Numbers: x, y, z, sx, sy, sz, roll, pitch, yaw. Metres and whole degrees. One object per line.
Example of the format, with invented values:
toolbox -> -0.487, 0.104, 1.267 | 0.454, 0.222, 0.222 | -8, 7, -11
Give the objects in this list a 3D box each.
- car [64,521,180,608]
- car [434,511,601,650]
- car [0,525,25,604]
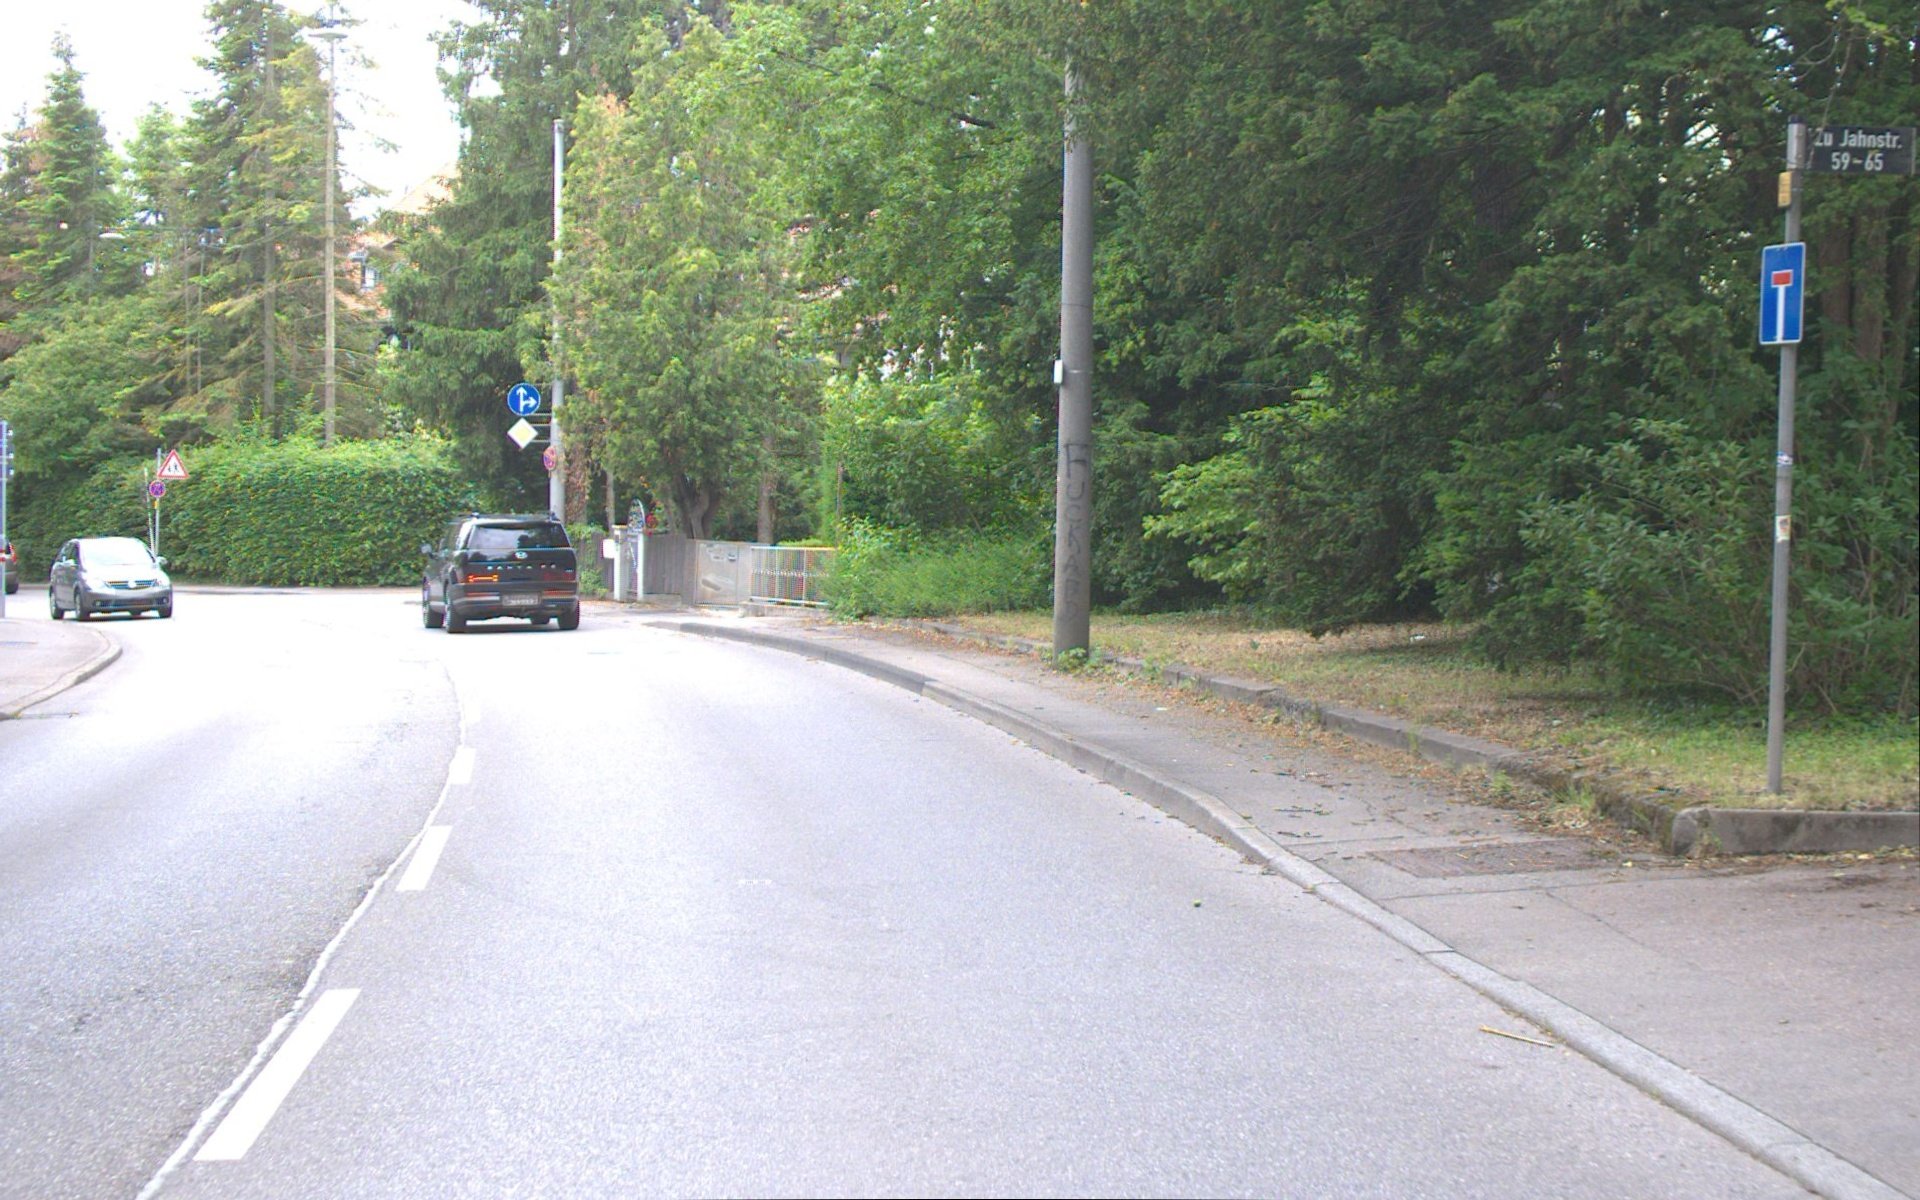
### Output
car -> -16.060, -0.700, 65.759 | 1.993, 1.612, 4.001 | 0, 1, -16
car -> -6.498, -0.332, 50.845 | 1.993, 1.875, 4.001 | 1, 2, -1
car -> -19.011, -0.675, 65.769 | 1.902, 1.449, 3.798 | -3, 2, -18
